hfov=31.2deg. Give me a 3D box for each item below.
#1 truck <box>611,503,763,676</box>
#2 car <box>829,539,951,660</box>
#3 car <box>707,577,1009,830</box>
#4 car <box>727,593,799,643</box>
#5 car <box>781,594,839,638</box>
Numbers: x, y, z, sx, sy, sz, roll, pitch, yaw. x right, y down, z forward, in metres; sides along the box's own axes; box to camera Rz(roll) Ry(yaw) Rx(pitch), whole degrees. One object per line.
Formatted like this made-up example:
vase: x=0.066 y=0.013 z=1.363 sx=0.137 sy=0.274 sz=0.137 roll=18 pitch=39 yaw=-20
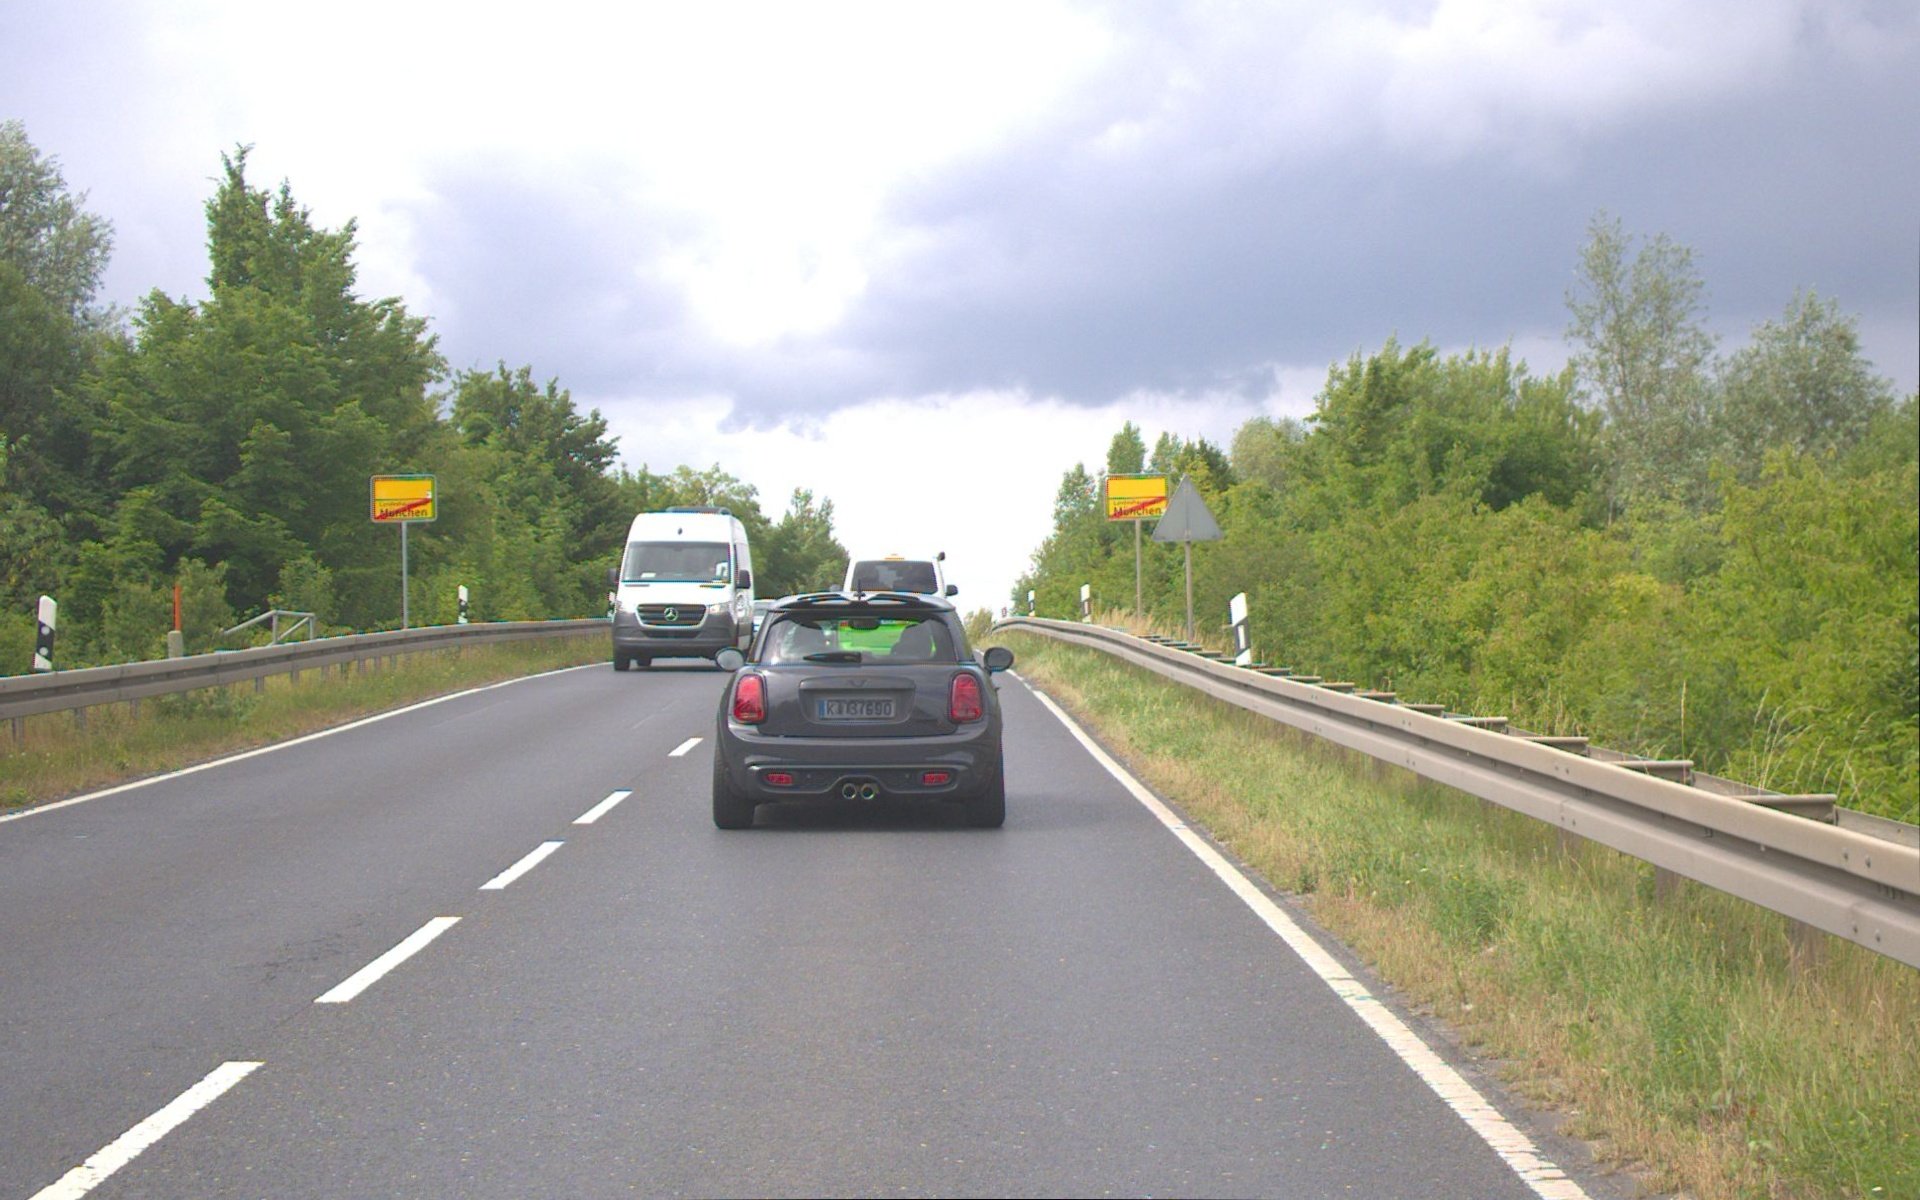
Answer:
truck: x=-4.517 y=-0.218 z=57.871 sx=2.065 sy=2.733 sz=7.007 roll=0 pitch=1 yaw=-1
car: x=-1.238 y=-0.020 z=59.096 sx=2.022 sy=2.006 sz=4.000 roll=0 pitch=0 yaw=-2
car: x=-0.629 y=0.586 z=21.863 sx=1.732 sy=1.451 sz=4.000 roll=0 pitch=0 yaw=-1
car: x=-5.745 y=0.520 z=100.618 sx=1.835 sy=1.440 sz=4.000 roll=0 pitch=0 yaw=1
car: x=-5.178 y=0.565 z=119.091 sx=1.835 sy=1.415 sz=4.000 roll=1 pitch=-1 yaw=0
